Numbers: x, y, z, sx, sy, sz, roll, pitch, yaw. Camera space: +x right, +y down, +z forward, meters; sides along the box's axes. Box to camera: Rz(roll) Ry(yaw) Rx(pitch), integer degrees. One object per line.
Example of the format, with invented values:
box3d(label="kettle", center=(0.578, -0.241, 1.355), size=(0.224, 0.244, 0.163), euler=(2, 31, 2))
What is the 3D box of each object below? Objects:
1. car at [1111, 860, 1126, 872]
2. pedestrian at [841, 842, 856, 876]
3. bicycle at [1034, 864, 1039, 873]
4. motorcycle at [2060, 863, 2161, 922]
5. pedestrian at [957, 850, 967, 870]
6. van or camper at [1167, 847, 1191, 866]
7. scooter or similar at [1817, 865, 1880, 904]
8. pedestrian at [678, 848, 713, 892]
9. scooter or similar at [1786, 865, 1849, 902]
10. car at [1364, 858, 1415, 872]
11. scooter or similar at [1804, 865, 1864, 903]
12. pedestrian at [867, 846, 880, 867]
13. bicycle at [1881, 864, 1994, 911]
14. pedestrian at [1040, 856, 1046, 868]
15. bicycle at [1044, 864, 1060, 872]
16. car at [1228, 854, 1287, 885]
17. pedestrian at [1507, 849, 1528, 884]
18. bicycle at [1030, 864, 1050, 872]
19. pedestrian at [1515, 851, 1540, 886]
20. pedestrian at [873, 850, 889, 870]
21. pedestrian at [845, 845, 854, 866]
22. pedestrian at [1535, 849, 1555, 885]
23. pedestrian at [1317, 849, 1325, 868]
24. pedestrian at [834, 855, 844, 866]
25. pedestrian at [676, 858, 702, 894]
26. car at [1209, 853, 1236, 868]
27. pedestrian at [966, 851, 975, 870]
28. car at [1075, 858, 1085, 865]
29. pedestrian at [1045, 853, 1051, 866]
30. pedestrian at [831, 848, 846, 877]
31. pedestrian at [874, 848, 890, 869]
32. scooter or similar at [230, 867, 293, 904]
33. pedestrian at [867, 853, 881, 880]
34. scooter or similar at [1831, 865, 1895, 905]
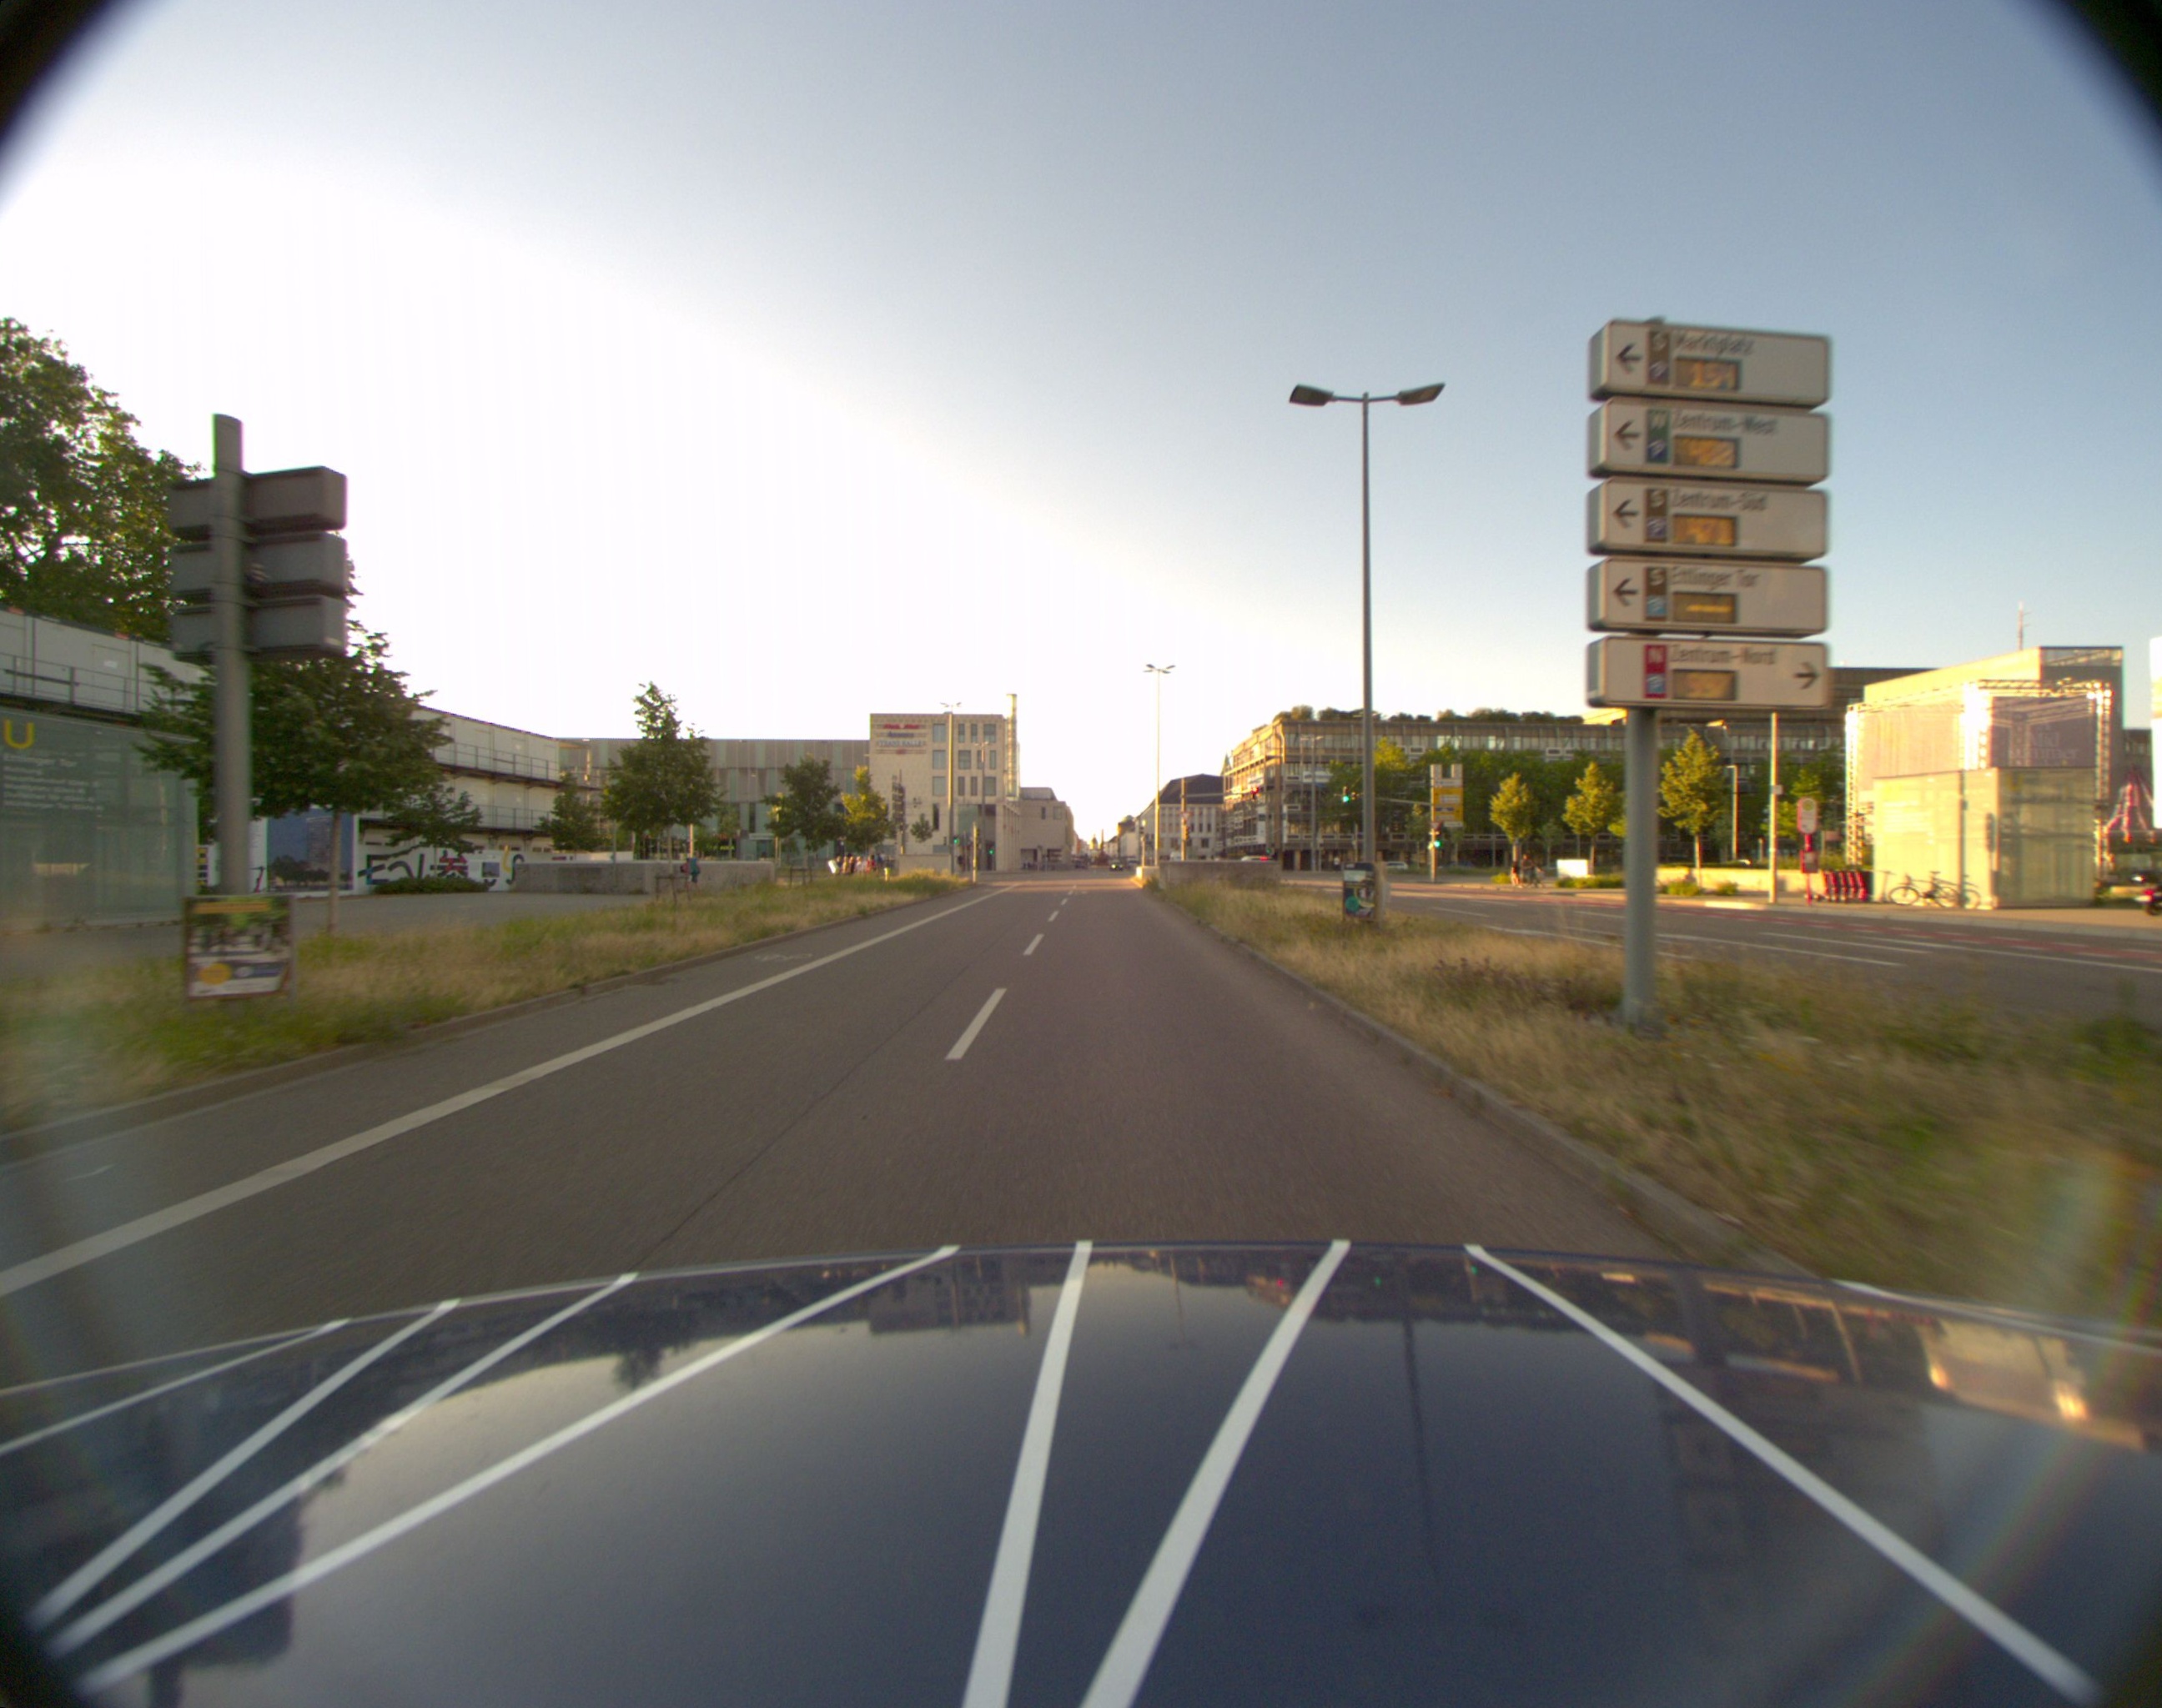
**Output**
box3d(label="car", center=(5.421, 1.729, 109.731), size=(2.071, 1.641, 4.000), euler=(0, 1, 2))
box3d(label="pedestrian", center=(-13.217, 0.258, 43.200), size=(0.644, 1.922, 0.619), euler=(0, 1, 3))
box3d(label="bicycle", center=(-6.368, 2.034, 108.156), size=(0.619, 1.316, 2.509), euler=(0, 0, -1))
box3d(label="motorcycle", center=(27.045, 0.960, 19.334), size=(3.241, 1.375, 0.840), euler=(-1, 1, -1))
box3d(label="pedestrian", center=(-10.388, 0.535, 66.420), size=(0.644, 1.720, 0.871), euler=(0, 1, 3))
box3d(label="van or camper", center=(13.489, 0.390, 104.954), size=(2.232, 2.650, 6.162), euler=(0, -1, -2))
box3d(label="scooter or similar", center=(26.114, 1.036, 25.857), size=(1.836, 1.297, 0.423), euler=(0, 1, -5))
box3d(label="pedestrian", center=(-15.887, 0.666, 31.343), size=(0.816, 1.804, 1.047), euler=(0, -1, 6))
box3d(label="scooter or similar", center=(26.021, 1.033, 26.846), size=(1.863, 1.297, 0.500), euler=(0, 1, -5))
box3d(label="car", center=(36.157, 1.310, 89.128), size=(5.160, 1.575, 2.000), euler=(0, 0, 0))
box3d(label="scooter or similar", center=(26.087, 1.041, 26.341), size=(1.793, 1.297, 0.417), euler=(0, 1, -5))
box3d(label="pedestrian", center=(-18.571, 0.249, 67.887), size=(0.896, 1.843, 0.724), euler=(2, 2, -33))
box3d(label="bicycle", center=(26.294, 0.997, 23.412), size=(0.619, 1.316, 2.509), euler=(0, 0, -1))
box3d(label="pedestrian", center=(-5.090, 1.068, 100.678), size=(0.764, 1.696, 0.834), euler=(0, 0, -1))
box3d(label="bicycle", center=(-4.550, 2.185, 120.101), size=(2.507, 1.316, 0.619), euler=(0, 1, 0))
box3d(label="car", center=(8.776, 0.747, 38.109), size=(1.891, 1.457, 4.537), euler=(0, 0, 0))
box3d(label="pedestrian", center=(23.648, 0.666, 41.182), size=(0.633, 1.922, 0.775), euler=(0, 1, 0))
box3d(label="bicycle", center=(-5.950, 2.027, 110.332), size=(2.804, 1.208, 0.765), euler=(0, -1, 10))
box3d(label="pedestrian", center=(23.562, 0.734, 40.090), size=(0.874, 1.826, 0.775), euler=(0, 1, 2))
box3d(label="pedestrian", center=(-17.470, 0.492, 66.429), size=(0.868, 1.714, 1.009), euler=(3, 2, 27))
box3d(label="pedestrian", center=(-20.151, 0.107, 66.106), size=(0.604, 1.843, 0.586), euler=(0, 1, 4))
box3d(label="pedestrian", center=(24.502, 0.679, 40.127), size=(0.661, 1.922, 0.648), euler=(0, 0, 2))
box3d(label="pedestrian", center=(25.043, 0.446, 79.244), size=(0.644, 1.920, 0.681), euler=(0, 1, -2))
box3d(label="pedestrian", center=(-21.043, 0.533, 66.061), size=(0.650, 0.957, 0.654), euler=(0, 0, -5))
box3d(label="pedestrian", center=(-16.610, 0.926, 32.193), size=(0.762, 1.481, 0.645), euler=(0, -1, 1))
box3d(label="car", center=(14.858, 0.626, 80.032), size=(1.640, 1.518, 3.996), euler=(0, 0, -9))
box3d(label="pedestrian", center=(-9.640, 0.549, 66.244), size=(0.644, 1.650, 0.871), euler=(0, 1, 3))
box3d(label="car", center=(-0.243, 1.872, 178.713), size=(2.071, 1.641, 4.001), euler=(0, -1, 2))
box3d(label="pedestrian", center=(-4.429, 0.784, 101.673), size=(0.764, 1.696, 0.834), euler=(0, 0, 0))
box3d(label="pedestrian", center=(-14.411, 0.505, 45.157), size=(0.644, 1.702, 0.762), euler=(0, 0, 0))
box3d(label="pedestrian", center=(-17.721, 0.384, 67.643), size=(0.892, 1.843, 1.007), euler=(3, 2, 13))
box3d(label="scooter or similar", center=(-27.783, 1.061, 25.757), size=(1.573, 1.213, 0.474), euler=(0, 1, -2))
box3d(label="pedestrian", center=(-13.183, 0.792, 48.393), size=(0.644, 1.702, 0.871), euler=(0, 0, -1))
box3d(label="scooter or similar", center=(26.146, 1.030, 25.415), size=(1.841, 1.297, 0.423), euler=(0, 1, -5))
